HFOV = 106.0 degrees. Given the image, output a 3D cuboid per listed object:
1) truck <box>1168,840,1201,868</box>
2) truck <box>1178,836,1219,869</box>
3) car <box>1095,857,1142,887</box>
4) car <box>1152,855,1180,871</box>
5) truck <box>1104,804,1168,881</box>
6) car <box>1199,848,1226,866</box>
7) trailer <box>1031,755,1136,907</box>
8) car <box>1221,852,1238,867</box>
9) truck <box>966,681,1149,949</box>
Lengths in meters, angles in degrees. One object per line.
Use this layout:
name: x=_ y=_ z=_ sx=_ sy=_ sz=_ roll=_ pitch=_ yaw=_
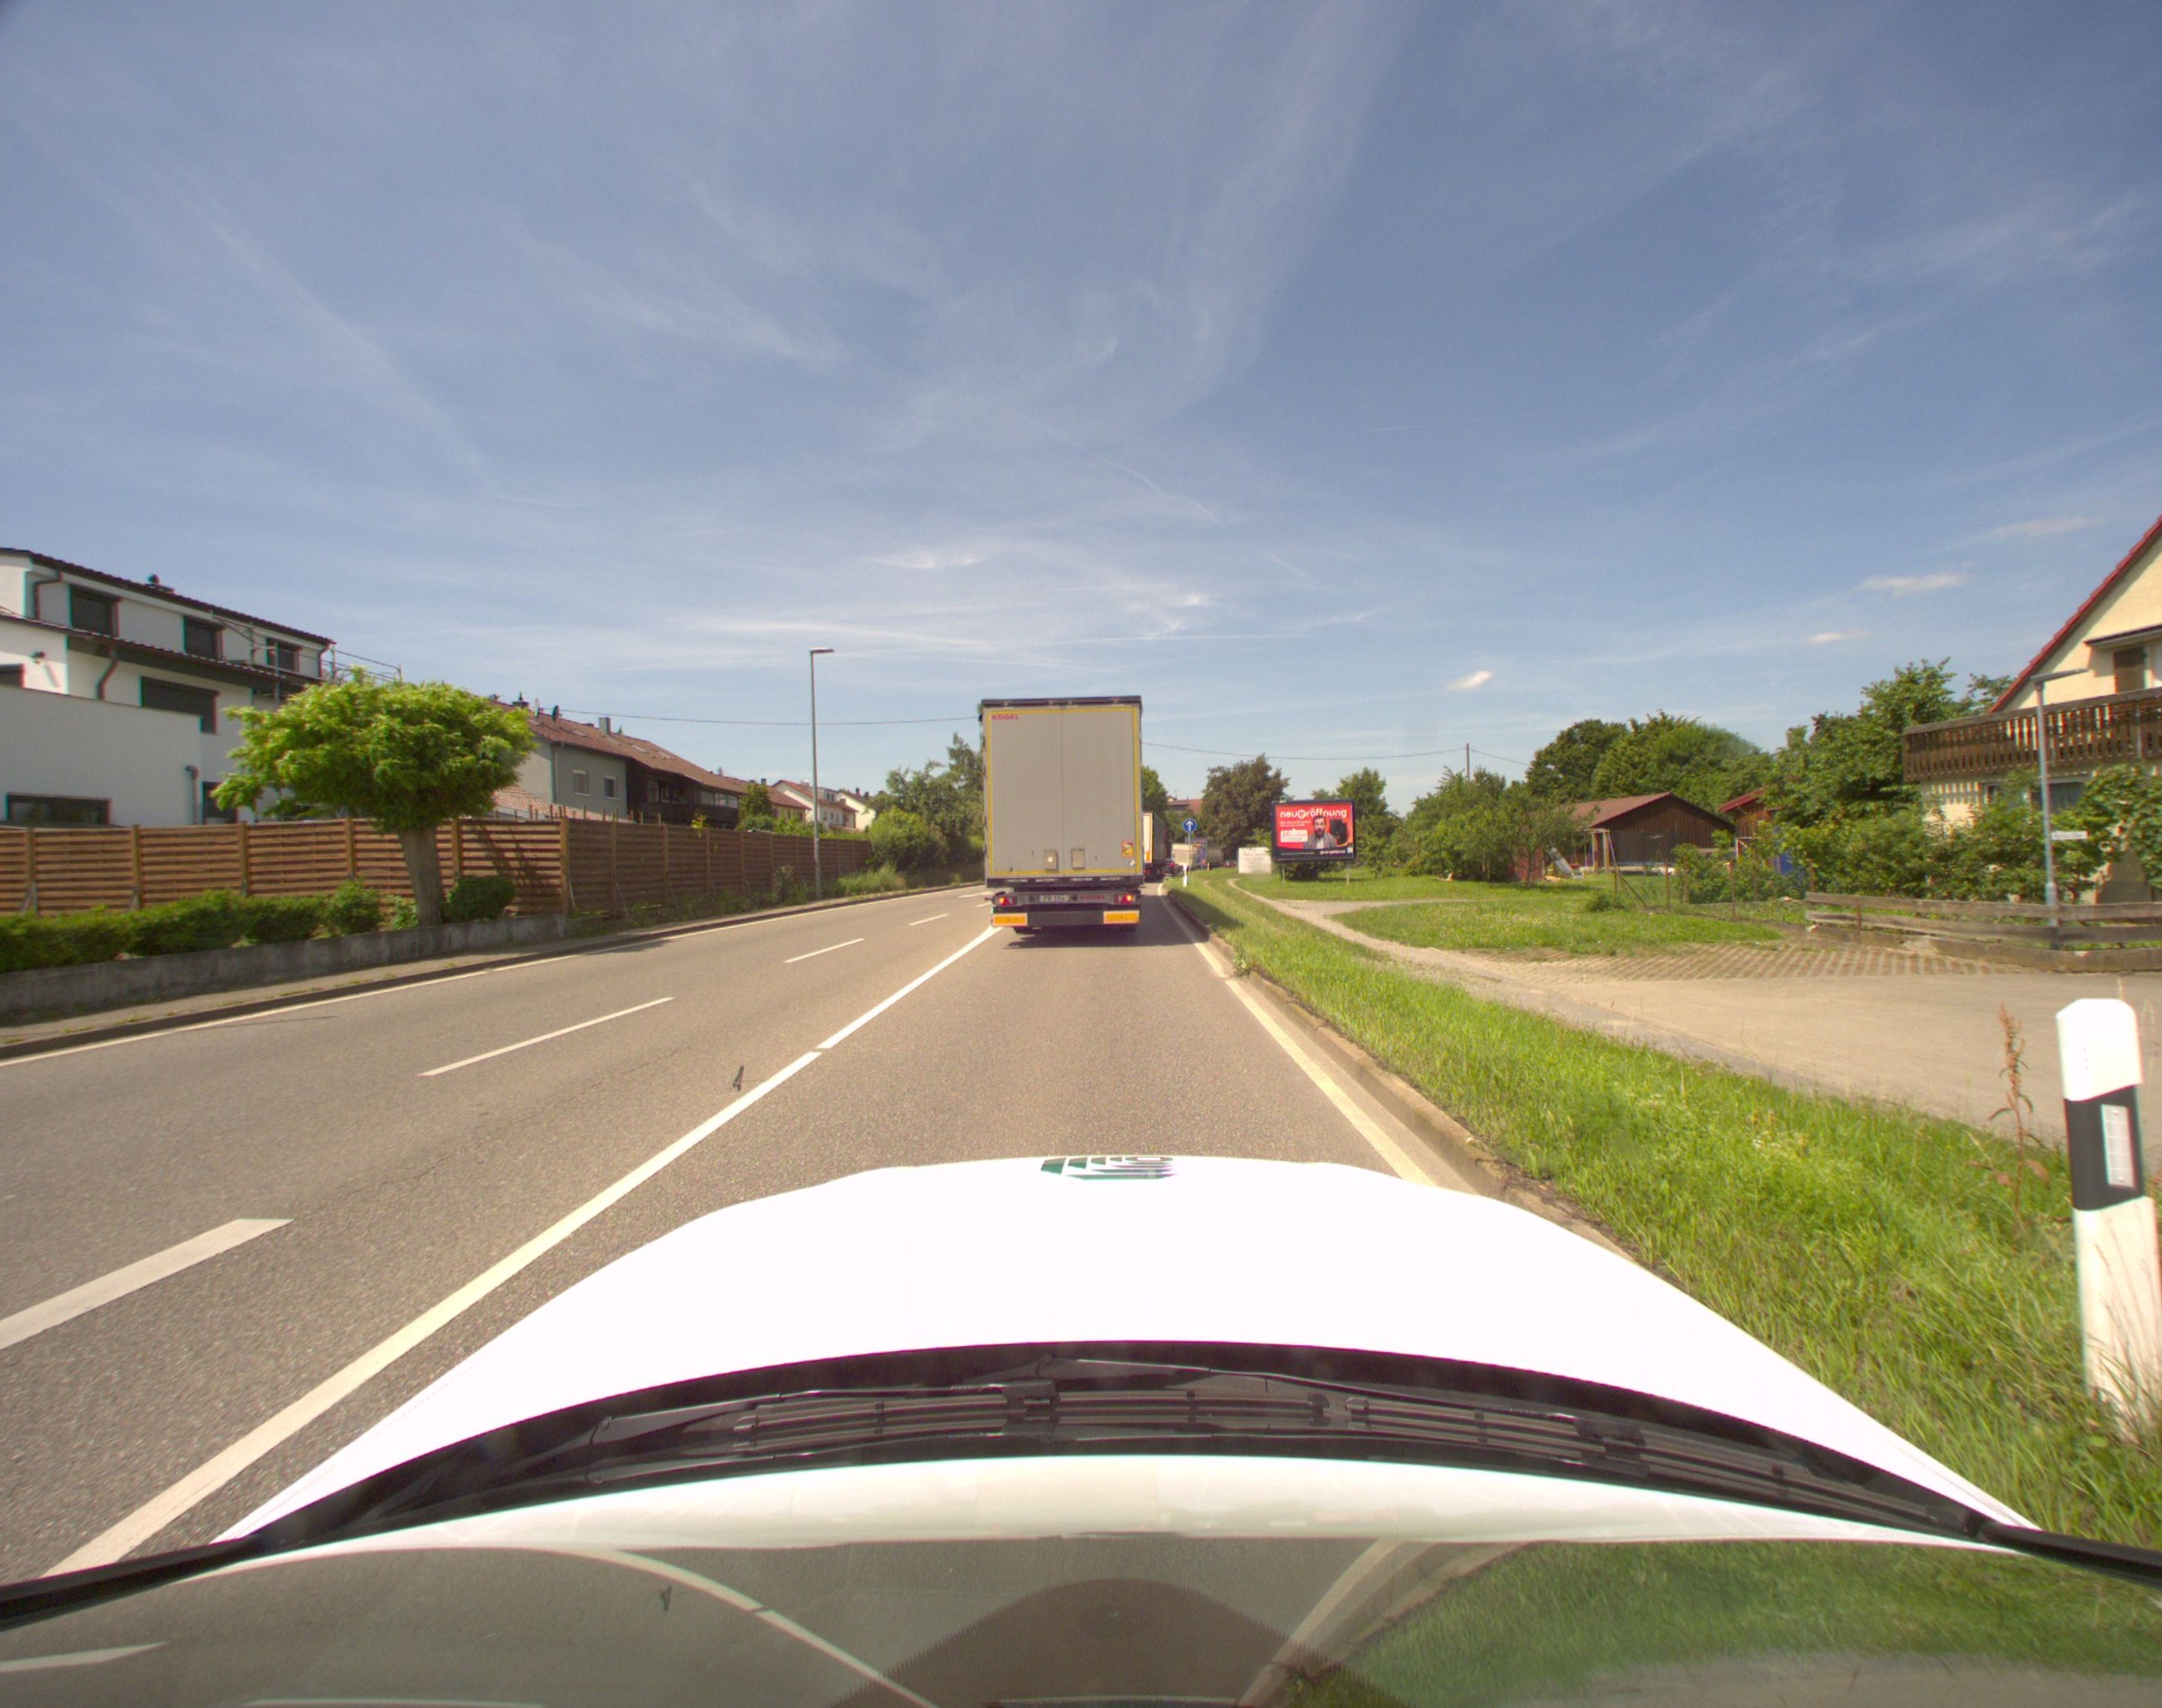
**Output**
truck: x=10.795 y=0.027 z=84.388 sx=2.524 sy=2.803 sz=6.057 roll=-1 pitch=-1 yaw=16
truck: x=13.924 y=-0.235 z=95.750 sx=3.406 sy=3.604 sz=9.395 roll=-1 pitch=0 yaw=17
car: x=1.845 y=0.856 z=38.651 sx=1.808 sy=1.346 sz=3.857 roll=0 pitch=-1 yaw=9
car: x=7.629 y=0.797 z=73.073 sx=1.980 sy=1.376 sz=4.014 roll=-1 pitch=-1 yaw=13
truck: x=3.937 y=-0.548 z=53.552 sx=2.744 sy=4.289 sz=16.455 roll=0 pitch=-1 yaw=9
car: x=17.111 y=0.361 z=105.488 sx=2.512 sy=2.277 sz=6.410 roll=-1 pitch=0 yaw=17
trailer: x=0.216 y=-0.641 z=25.532 sx=2.814 sy=4.111 sz=6.548 roll=-1 pitch=0 yaw=2
car: x=21.550 y=0.789 z=117.860 sx=1.978 sy=2.014 sz=4.018 roll=-1 pitch=-1 yaw=17
truck: x=-0.112 y=-0.632 z=18.341 sx=2.811 sy=4.127 sz=11.451 roll=0 pitch=0 yaw=3
